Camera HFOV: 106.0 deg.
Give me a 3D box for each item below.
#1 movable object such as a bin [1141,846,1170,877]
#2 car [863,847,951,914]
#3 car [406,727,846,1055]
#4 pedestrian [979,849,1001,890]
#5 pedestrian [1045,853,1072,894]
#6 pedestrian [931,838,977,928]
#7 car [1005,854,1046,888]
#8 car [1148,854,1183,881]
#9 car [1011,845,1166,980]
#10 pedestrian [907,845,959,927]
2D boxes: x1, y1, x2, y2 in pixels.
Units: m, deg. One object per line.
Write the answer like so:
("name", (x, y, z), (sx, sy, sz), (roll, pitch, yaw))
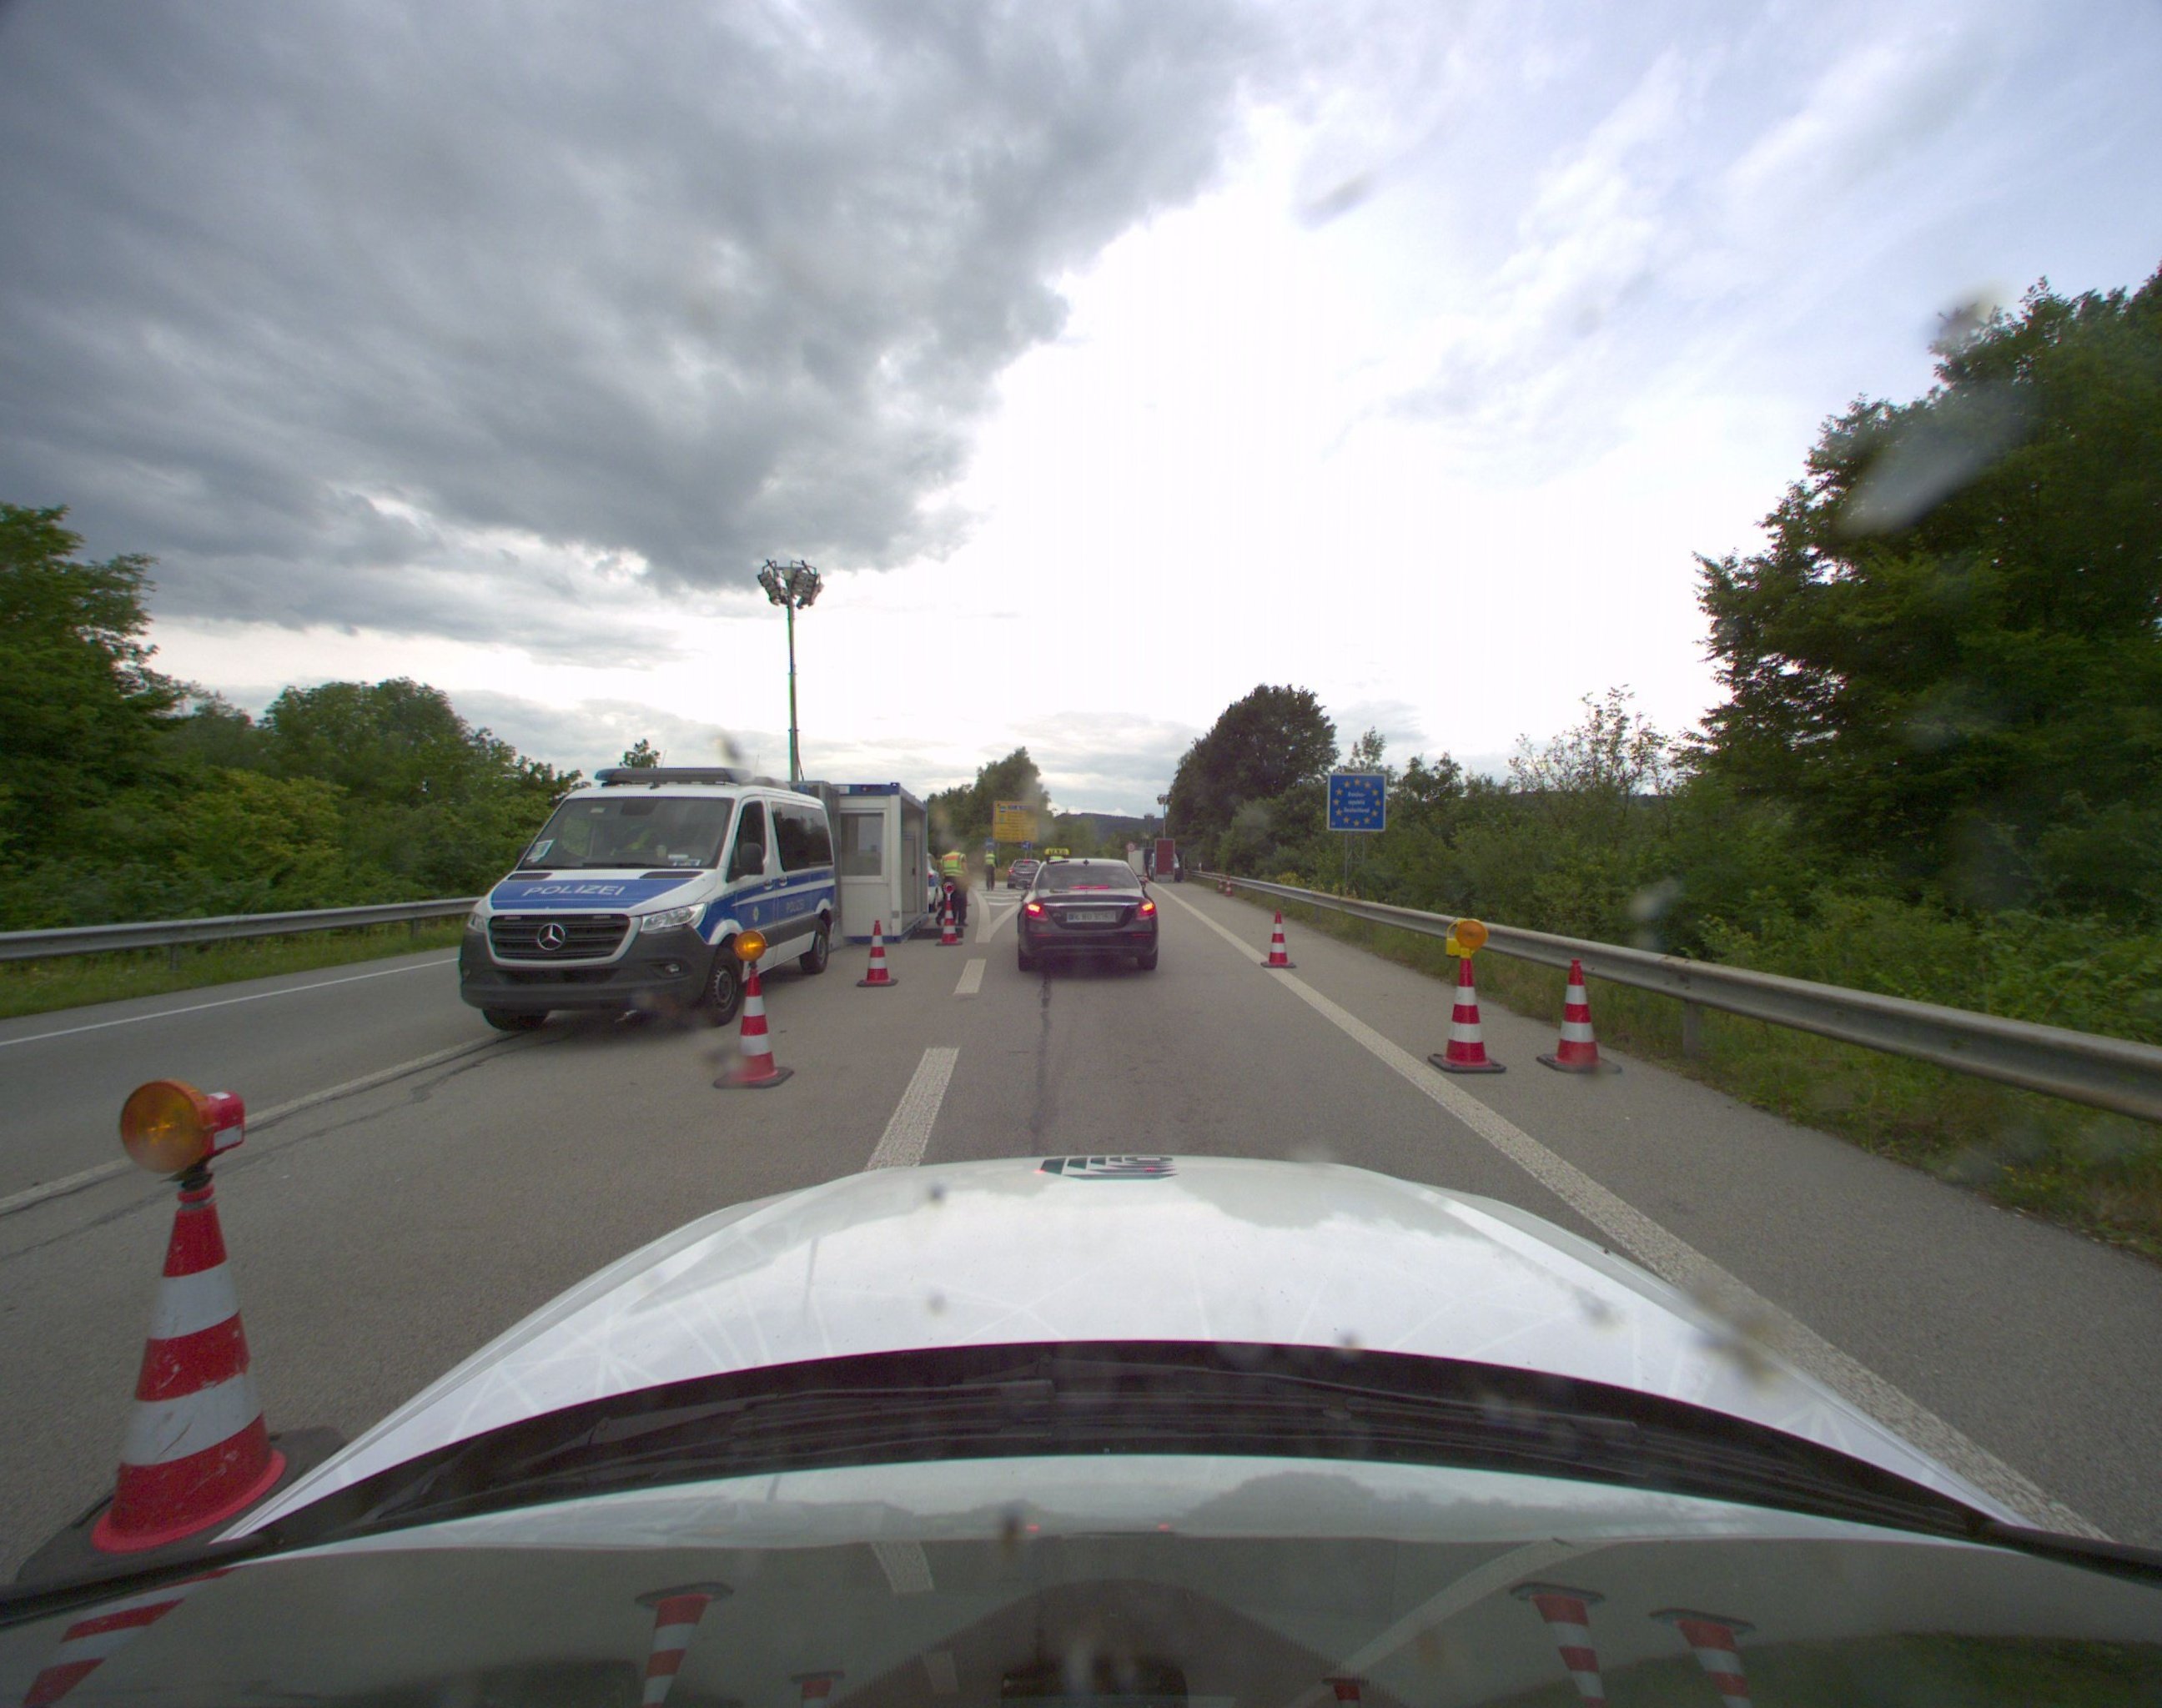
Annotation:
("movable object such as a bin", (5.728, 0.581, 62.912), (1.985, 2.280, 4.170), (0, 0, 2))
("car", (-4.886, 0.686, 23.382), (1.865, 1.743, 4.002), (0, 0, -4))
("car", (-4.197, 0.276, 8.820), (2.024, 2.463, 5.273), (0, 0, -3))
("pedestrian", (-3.946, 0.674, 35.327), (0.908, 1.769, 0.910), (0, 0, -10))
("pedestrian", (-0.929, 0.793, 33.715), (0.910, 1.698, 0.908), (0, 0, -16))
("pedestrian", (-2.649, 0.598, 17.087), (0.810, 1.830, 0.809), (-1, -1, 0))
("car", (-2.604, 0.767, 39.017), (1.851, 1.498, 4.252), (0, 0, -3))
("car", (5.537, 0.862, 54.067), (1.909, 1.678, 5.085), (1, 0, 2))
("car", (0.027, 0.700, 11.952), (1.850, 1.595, 4.372), (0, 0, -2))
("pedestrian", (-3.207, 0.673, 17.661), (0.753, 1.718, 0.823), (-1, -1, 29))
